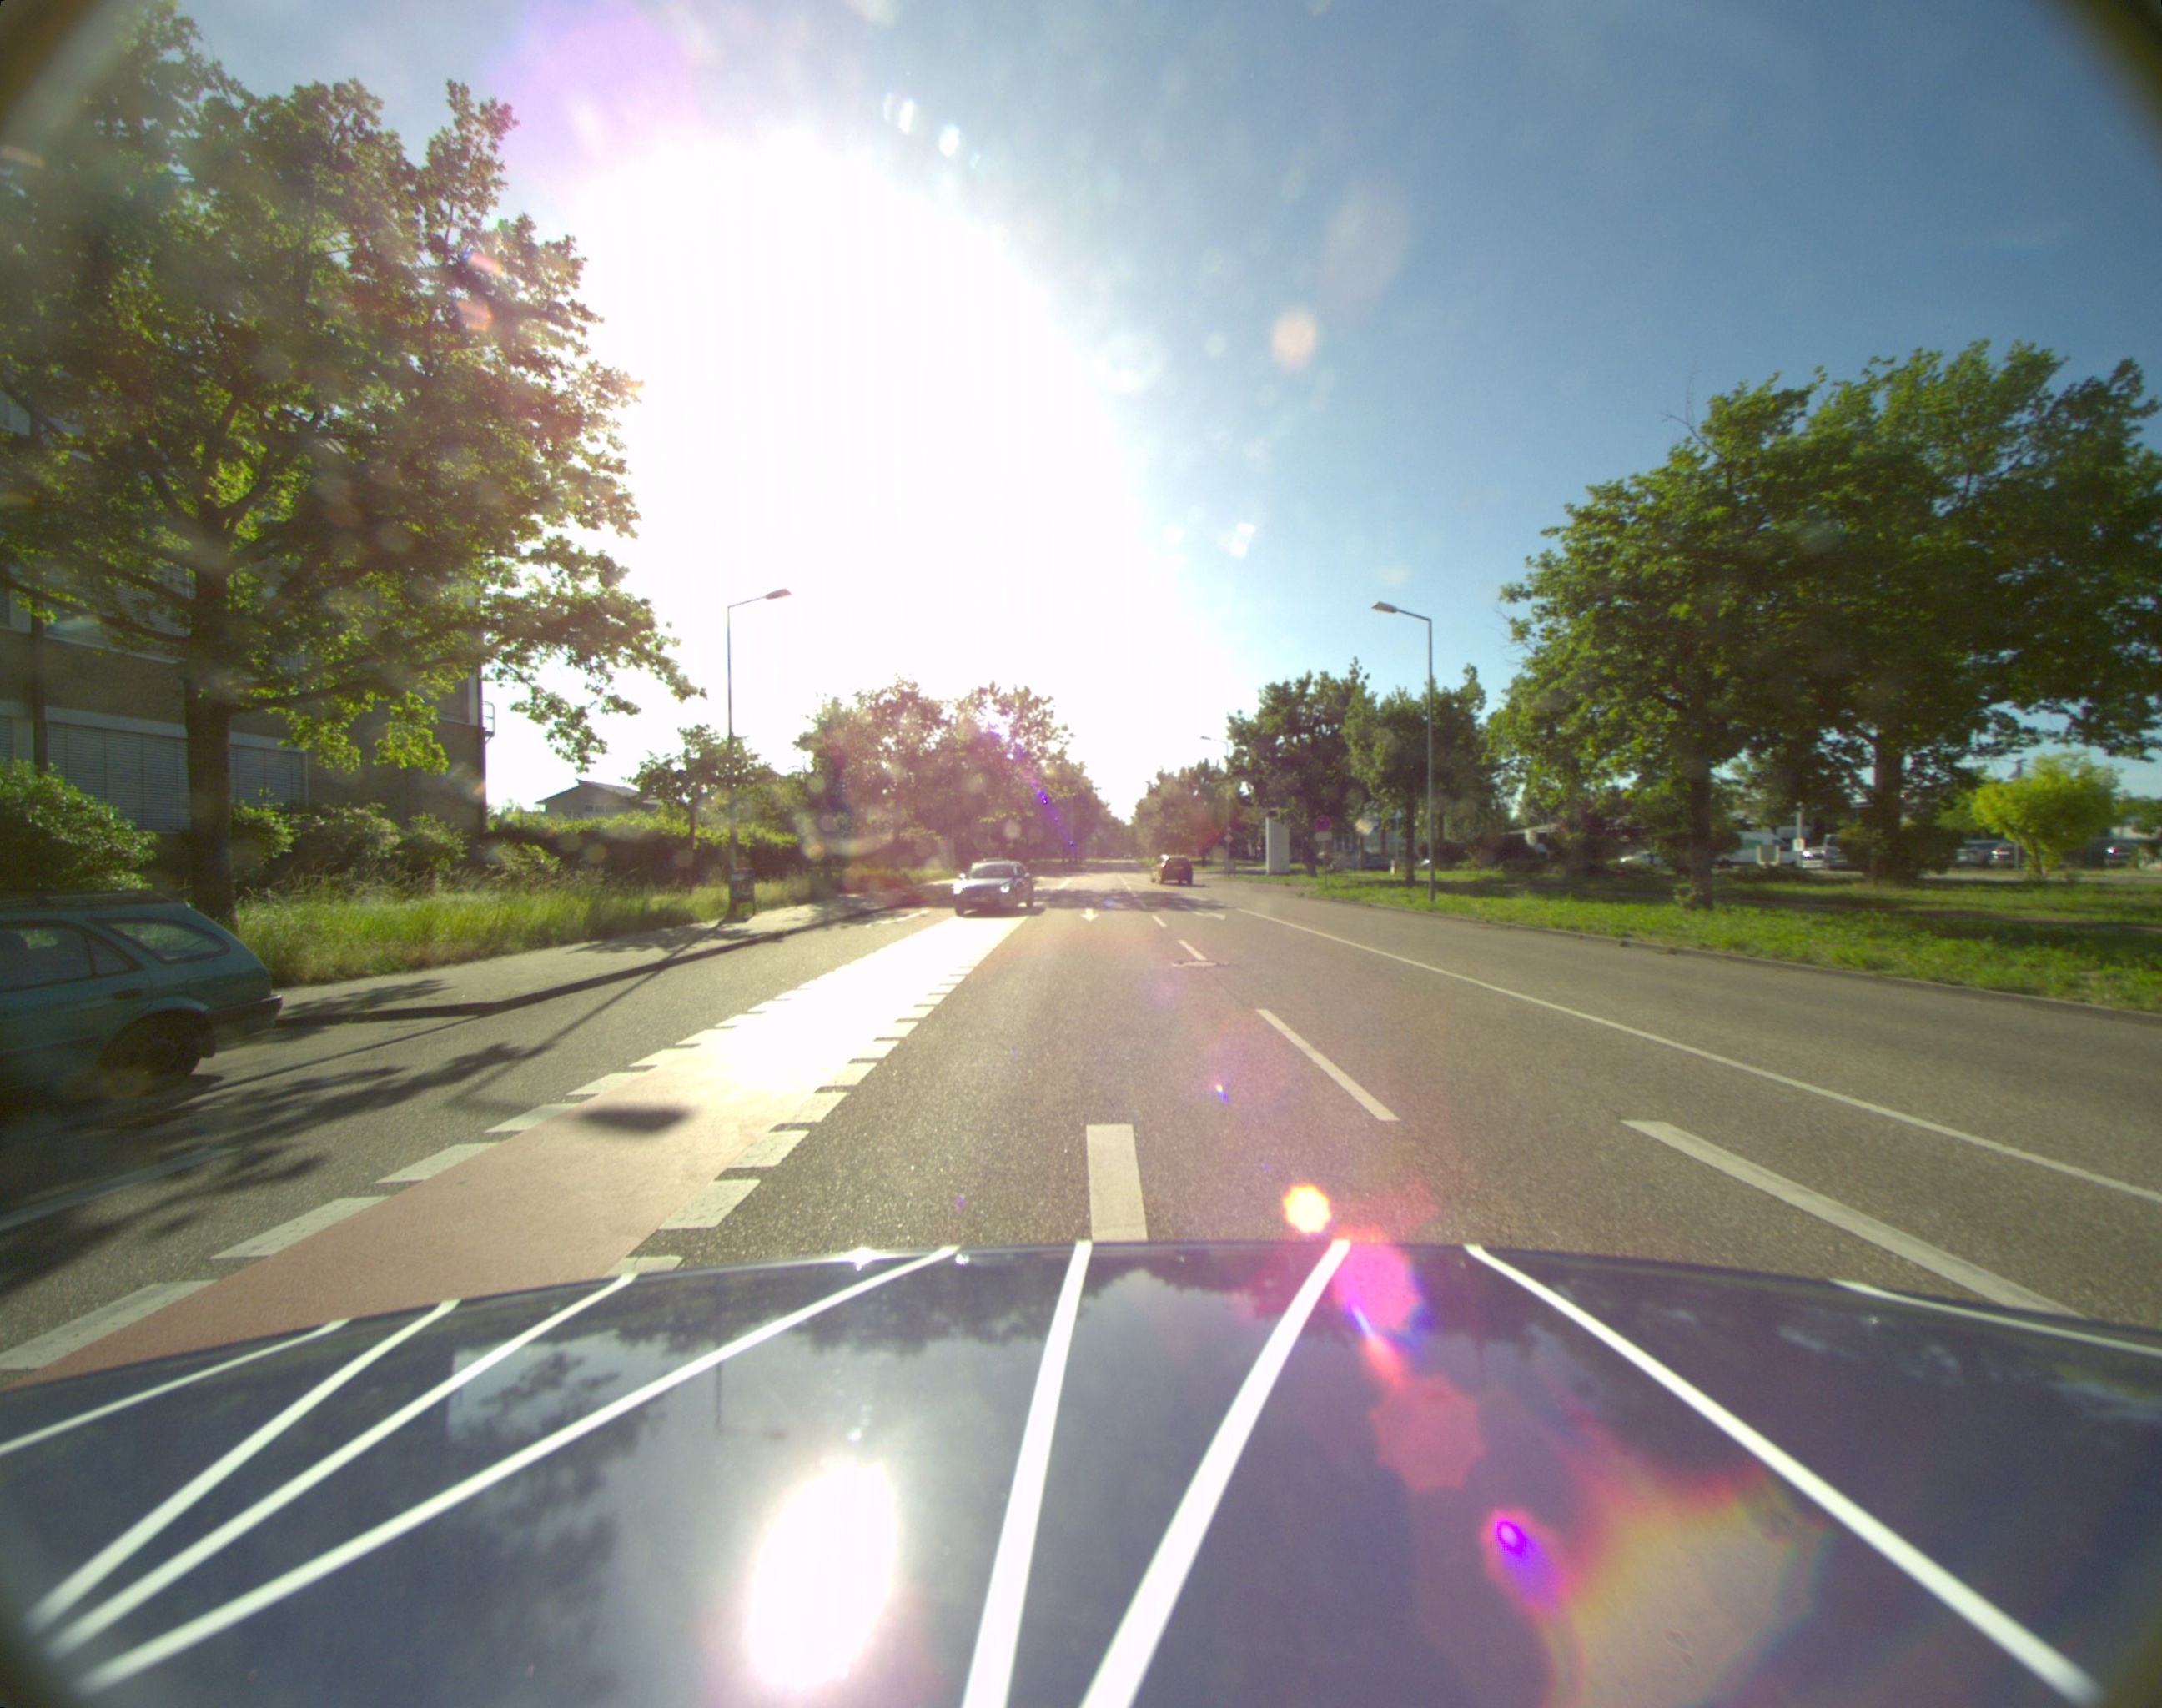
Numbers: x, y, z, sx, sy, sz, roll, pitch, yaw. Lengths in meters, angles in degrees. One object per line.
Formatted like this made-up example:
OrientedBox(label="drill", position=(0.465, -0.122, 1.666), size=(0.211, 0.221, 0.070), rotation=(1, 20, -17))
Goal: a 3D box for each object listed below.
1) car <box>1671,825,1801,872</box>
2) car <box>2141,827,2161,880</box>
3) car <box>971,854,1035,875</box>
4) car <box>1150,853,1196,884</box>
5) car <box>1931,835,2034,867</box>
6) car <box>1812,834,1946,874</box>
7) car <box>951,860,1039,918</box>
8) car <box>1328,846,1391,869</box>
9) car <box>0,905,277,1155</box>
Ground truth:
OrientedBox(label="car", position=(39.896, -0.336, 46.395), size=(6.023, 2.540, 2.409), rotation=(-2, 1, -4))
OrientedBox(label="car", position=(33.884, -0.082, 22.037), size=(3.817, 1.562, 1.736), rotation=(-2, -1, 0))
OrientedBox(label="car", position=(-5.931, 0.777, 58.120), size=(4.481, 1.510, 1.898), rotation=(0, 1, 12))
OrientedBox(label="car", position=(4.924, 0.751, 41.158), size=(1.768, 1.517, 4.078), rotation=(0, 0, -4))
OrientedBox(label="car", position=(52.084, -0.203, 43.958), size=(3.860, 1.661, 1.762), rotation=(-2, 1, 0))
OrientedBox(label="car", position=(40.057, -0.002, 38.218), size=(4.642, 1.771, 1.990), rotation=(-2, 1, 0))
OrientedBox(label="car", position=(-2.453, 0.973, 22.572), size=(1.652, 1.460, 3.943), rotation=(-2, 0, 7))
OrientedBox(label="car", position=(23.924, 0.296, 65.368), size=(4.637, 1.822, 2.000), rotation=(-2, 1, 0))
OrientedBox(label="car", position=(-7.529, 1.130, 4.217), size=(1.706, 1.460, 4.141), rotation=(-1, -1, 0))
